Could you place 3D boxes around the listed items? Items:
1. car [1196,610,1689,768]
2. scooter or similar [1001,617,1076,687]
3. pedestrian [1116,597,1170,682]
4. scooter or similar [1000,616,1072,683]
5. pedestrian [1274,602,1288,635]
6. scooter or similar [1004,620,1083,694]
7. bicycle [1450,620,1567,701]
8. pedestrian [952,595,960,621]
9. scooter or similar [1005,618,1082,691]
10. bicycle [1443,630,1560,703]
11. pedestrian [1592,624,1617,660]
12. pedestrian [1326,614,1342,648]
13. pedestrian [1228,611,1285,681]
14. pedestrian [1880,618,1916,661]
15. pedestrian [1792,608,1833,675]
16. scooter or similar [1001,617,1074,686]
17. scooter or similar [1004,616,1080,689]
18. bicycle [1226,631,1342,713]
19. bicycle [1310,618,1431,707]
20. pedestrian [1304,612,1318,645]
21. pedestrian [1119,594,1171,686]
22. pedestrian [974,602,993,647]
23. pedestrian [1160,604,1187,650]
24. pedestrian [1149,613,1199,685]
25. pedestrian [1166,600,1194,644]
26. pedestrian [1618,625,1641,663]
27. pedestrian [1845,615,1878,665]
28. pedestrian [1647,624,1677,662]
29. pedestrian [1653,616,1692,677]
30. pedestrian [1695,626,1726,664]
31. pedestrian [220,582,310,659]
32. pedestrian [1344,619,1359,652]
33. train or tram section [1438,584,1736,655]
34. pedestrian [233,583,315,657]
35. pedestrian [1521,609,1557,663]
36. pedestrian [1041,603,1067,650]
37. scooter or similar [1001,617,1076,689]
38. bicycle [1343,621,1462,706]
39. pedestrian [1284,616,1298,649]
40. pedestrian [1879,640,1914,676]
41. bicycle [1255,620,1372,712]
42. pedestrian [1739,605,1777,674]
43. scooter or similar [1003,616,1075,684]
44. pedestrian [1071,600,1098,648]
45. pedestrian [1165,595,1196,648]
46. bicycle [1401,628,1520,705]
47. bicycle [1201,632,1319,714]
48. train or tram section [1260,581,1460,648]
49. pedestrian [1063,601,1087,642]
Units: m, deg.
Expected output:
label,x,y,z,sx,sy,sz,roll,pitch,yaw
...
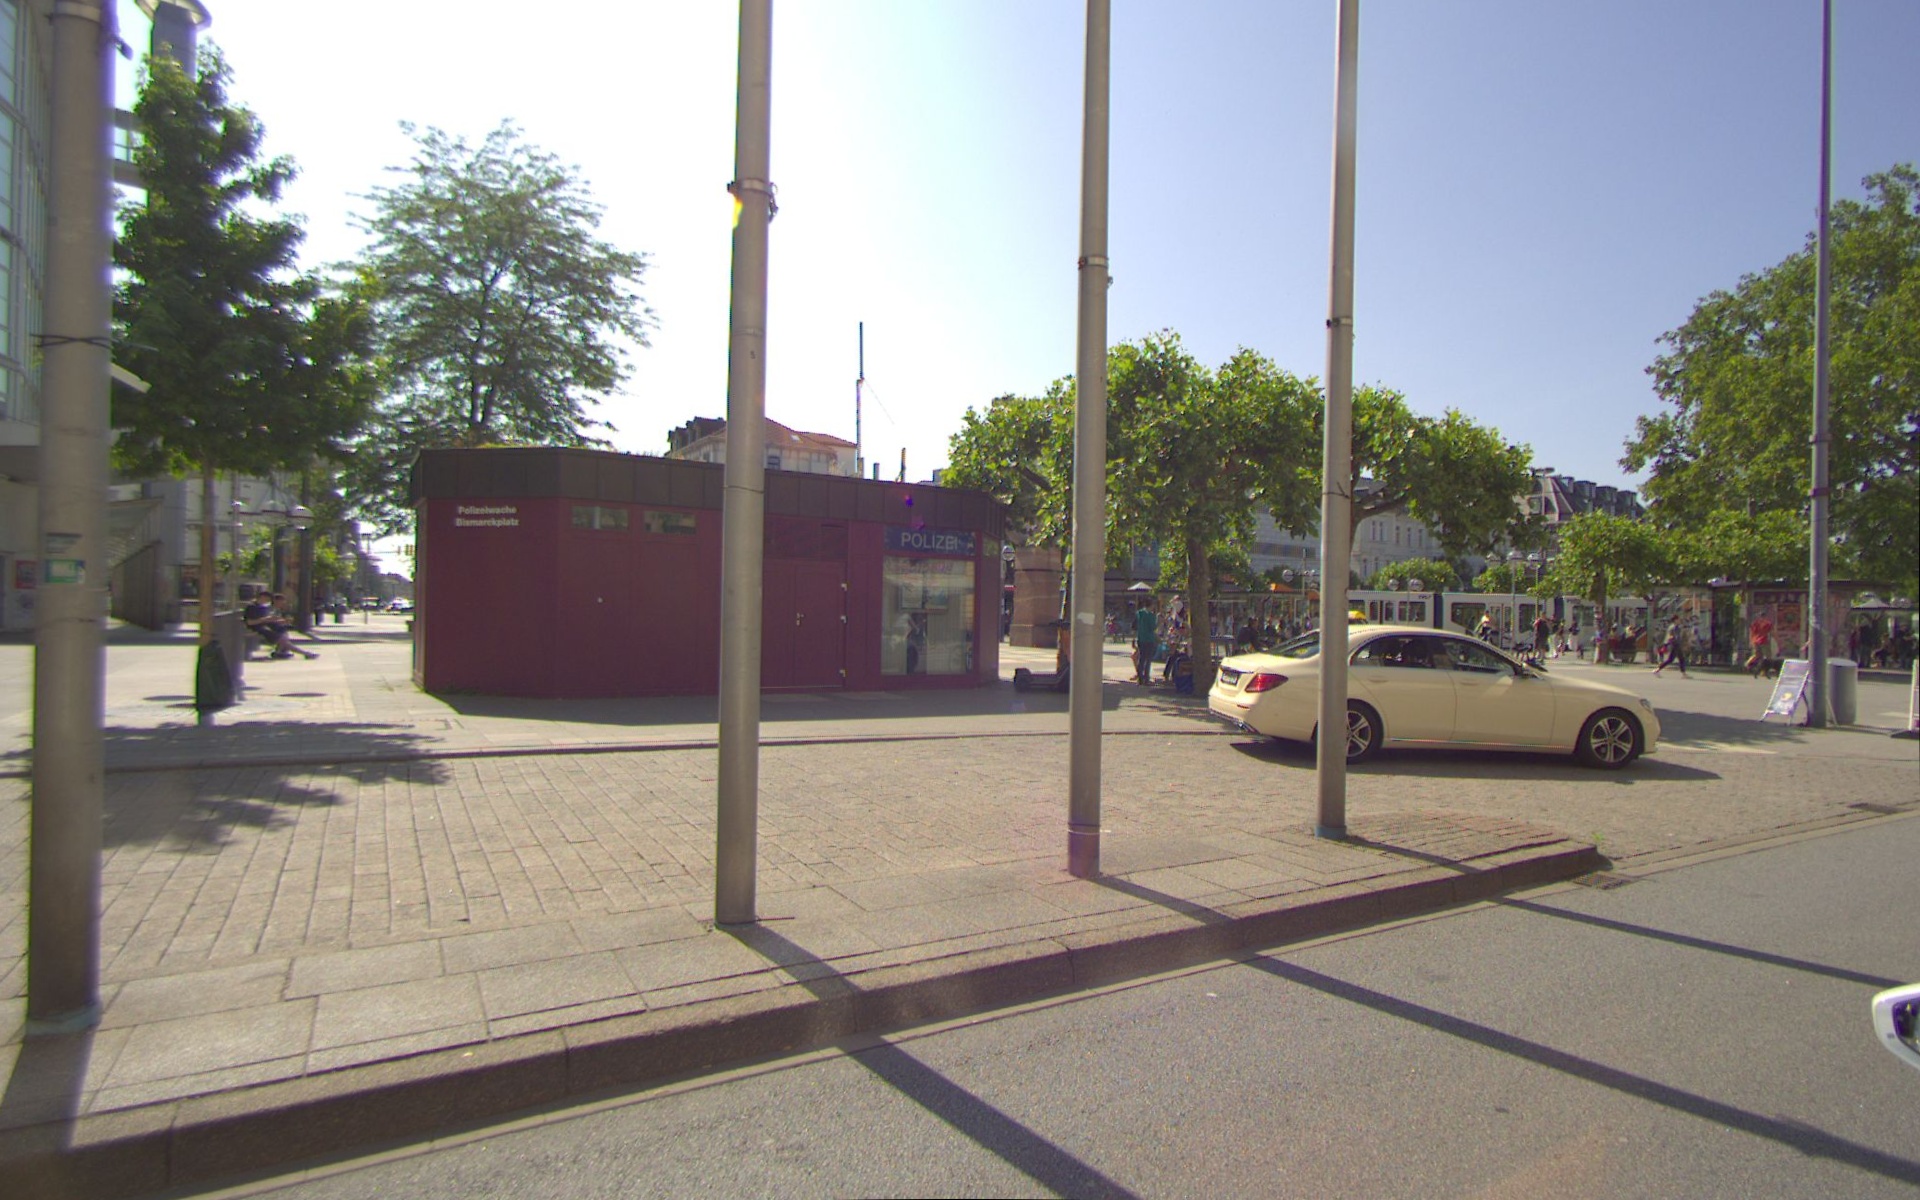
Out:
label,x,y,z,sx,sy,sz,roll,pitch,yaw
car,5.346,0.959,11.553,4.767,1.562,1.896,1,0,-3
scooter or similar,1.402,0.926,17.938,1.280,1.230,0.233,1,0,-11
pedestrian,3.656,0.772,20.039,0.668,1.627,0.795,1,0,-43
scooter or similar,1.416,0.921,18.709,1.280,1.230,0.264,1,0,-11
pedestrian,17.245,1.001,53.983,0.594,1.772,0.747,1,0,9
scooter or similar,1.408,0.962,16.950,1.280,1.230,0.233,1,0,-11
bicycle,10.277,1.108,18.885,0.733,1.366,1.771,1,1,-32
pedestrian,-0.255,0.537,66.428,0.435,1.695,0.450,1,0,5
scooter or similar,1.434,0.936,17.207,1.280,1.230,0.233,1,0,-11
bicycle,9.807,1.178,18.257,0.656,1.201,1.772,1,0,-32
pedestrian,23.779,1.549,37.062,0.600,1.279,0.611,1,0,16
pedestrian,19.454,1.617,52.266,0.594,1.772,0.747,1,0,9
pedestrian,6.110,0.949,20.735,0.884,1.400,0.670,1,0,-21
pedestrian,33.960,1.424,36.381,0.717,1.498,0.634,2,0,-9
pedestrian,22.625,1.096,26.673,0.598,1.762,0.574,2,1,-24
scooter or similar,1.399,0.931,18.199,1.280,1.230,0.233,1,0,-11
scooter or similar,1.424,0.913,17.445,1.280,1.230,0.233,1,0,-11
bicycle,5.029,1.088,15.717,0.556,1.147,1.772,1,0,-32
bicycle,6.708,0.988,16.483,0.656,1.326,1.772,1,0,-32
pedestrian,19.043,1.552,54.482,0.594,1.772,0.747,1,0,9
pedestrian,3.531,0.751,19.193,0.681,1.700,0.666,1,0,-38
pedestrian,0.947,0.996,40.991,0.498,1.772,0.540,2,1,-35
pedestrian,8.581,1.080,40.341,0.600,1.772,0.796,2,1,-35
pedestrian,4.129,0.930,19.403,0.663,1.326,0.683,2,0,43
pedestrian,8.236,0.818,37.647,0.600,1.582,0.796,2,1,-35
pedestrian,23.585,1.541,35.385,0.602,1.279,0.610,1,0,38
pedestrian,33.677,1.507,37.536,0.604,1.833,0.634,2,-4,-10
pedestrian,24.262,1.475,34.720,0.599,1.279,0.613,1,0,6
pedestrian,18.706,1.211,26.371,0.598,1.553,0.574,2,1,-24
pedestrian,25.709,1.530,34.418,0.599,1.279,0.612,1,0,-4
pedestrian,-13.099,0.383,18.975,1.295,1.404,0.850,1,0,-30
pedestrian,21.622,1.940,55.432,0.594,1.772,0.804,1,0,9
train or tram section,36.442,1.105,58.880,15.233,3.726,2.623,1,0,5
pedestrian,-13.479,0.394,19.767,1.245,1.404,0.850,1,0,-30
pedestrian,19.476,1.202,33.796,0.788,1.772,0.606,2,1,2
pedestrian,3.693,1.043,39.622,0.600,1.772,0.796,2,1,-35
scooter or similar,1.379,0.930,17.684,1.280,1.230,0.233,1,0,-11
bicycle,7.466,1.042,17.012,0.656,1.326,1.772,1,0,-32
pedestrian,17.959,1.780,54.541,0.594,1.772,0.747,1,0,9
pedestrian,34.586,2.136,37.109,0.717,1.310,0.634,2,0,-9
bicycle,5.570,1.008,15.907,0.556,1.326,1.772,1,0,-32
pedestrian,22.684,1.109,28.564,0.651,1.904,0.631,2,1,26
scooter or similar,1.444,0.920,18.452,1.280,1.230,0.233,1,0,-11
pedestrian,4.764,0.912,38.504,0.600,1.772,0.796,2,1,-35
pedestrian,7.685,0.749,35.078,0.600,1.822,0.795,2,1,-36
bicycle,8.723,1.131,17.574,0.656,1.231,1.772,1,0,-32
bicycle,4.519,1.073,15.236,0.556,1.120,1.772,1,0,-32
train or tram section,23.741,0.833,60.057,10.779,3.726,2.623,1,0,5
pedestrian,4.820,0.901,42.094,0.600,1.688,0.796,2,1,-35
